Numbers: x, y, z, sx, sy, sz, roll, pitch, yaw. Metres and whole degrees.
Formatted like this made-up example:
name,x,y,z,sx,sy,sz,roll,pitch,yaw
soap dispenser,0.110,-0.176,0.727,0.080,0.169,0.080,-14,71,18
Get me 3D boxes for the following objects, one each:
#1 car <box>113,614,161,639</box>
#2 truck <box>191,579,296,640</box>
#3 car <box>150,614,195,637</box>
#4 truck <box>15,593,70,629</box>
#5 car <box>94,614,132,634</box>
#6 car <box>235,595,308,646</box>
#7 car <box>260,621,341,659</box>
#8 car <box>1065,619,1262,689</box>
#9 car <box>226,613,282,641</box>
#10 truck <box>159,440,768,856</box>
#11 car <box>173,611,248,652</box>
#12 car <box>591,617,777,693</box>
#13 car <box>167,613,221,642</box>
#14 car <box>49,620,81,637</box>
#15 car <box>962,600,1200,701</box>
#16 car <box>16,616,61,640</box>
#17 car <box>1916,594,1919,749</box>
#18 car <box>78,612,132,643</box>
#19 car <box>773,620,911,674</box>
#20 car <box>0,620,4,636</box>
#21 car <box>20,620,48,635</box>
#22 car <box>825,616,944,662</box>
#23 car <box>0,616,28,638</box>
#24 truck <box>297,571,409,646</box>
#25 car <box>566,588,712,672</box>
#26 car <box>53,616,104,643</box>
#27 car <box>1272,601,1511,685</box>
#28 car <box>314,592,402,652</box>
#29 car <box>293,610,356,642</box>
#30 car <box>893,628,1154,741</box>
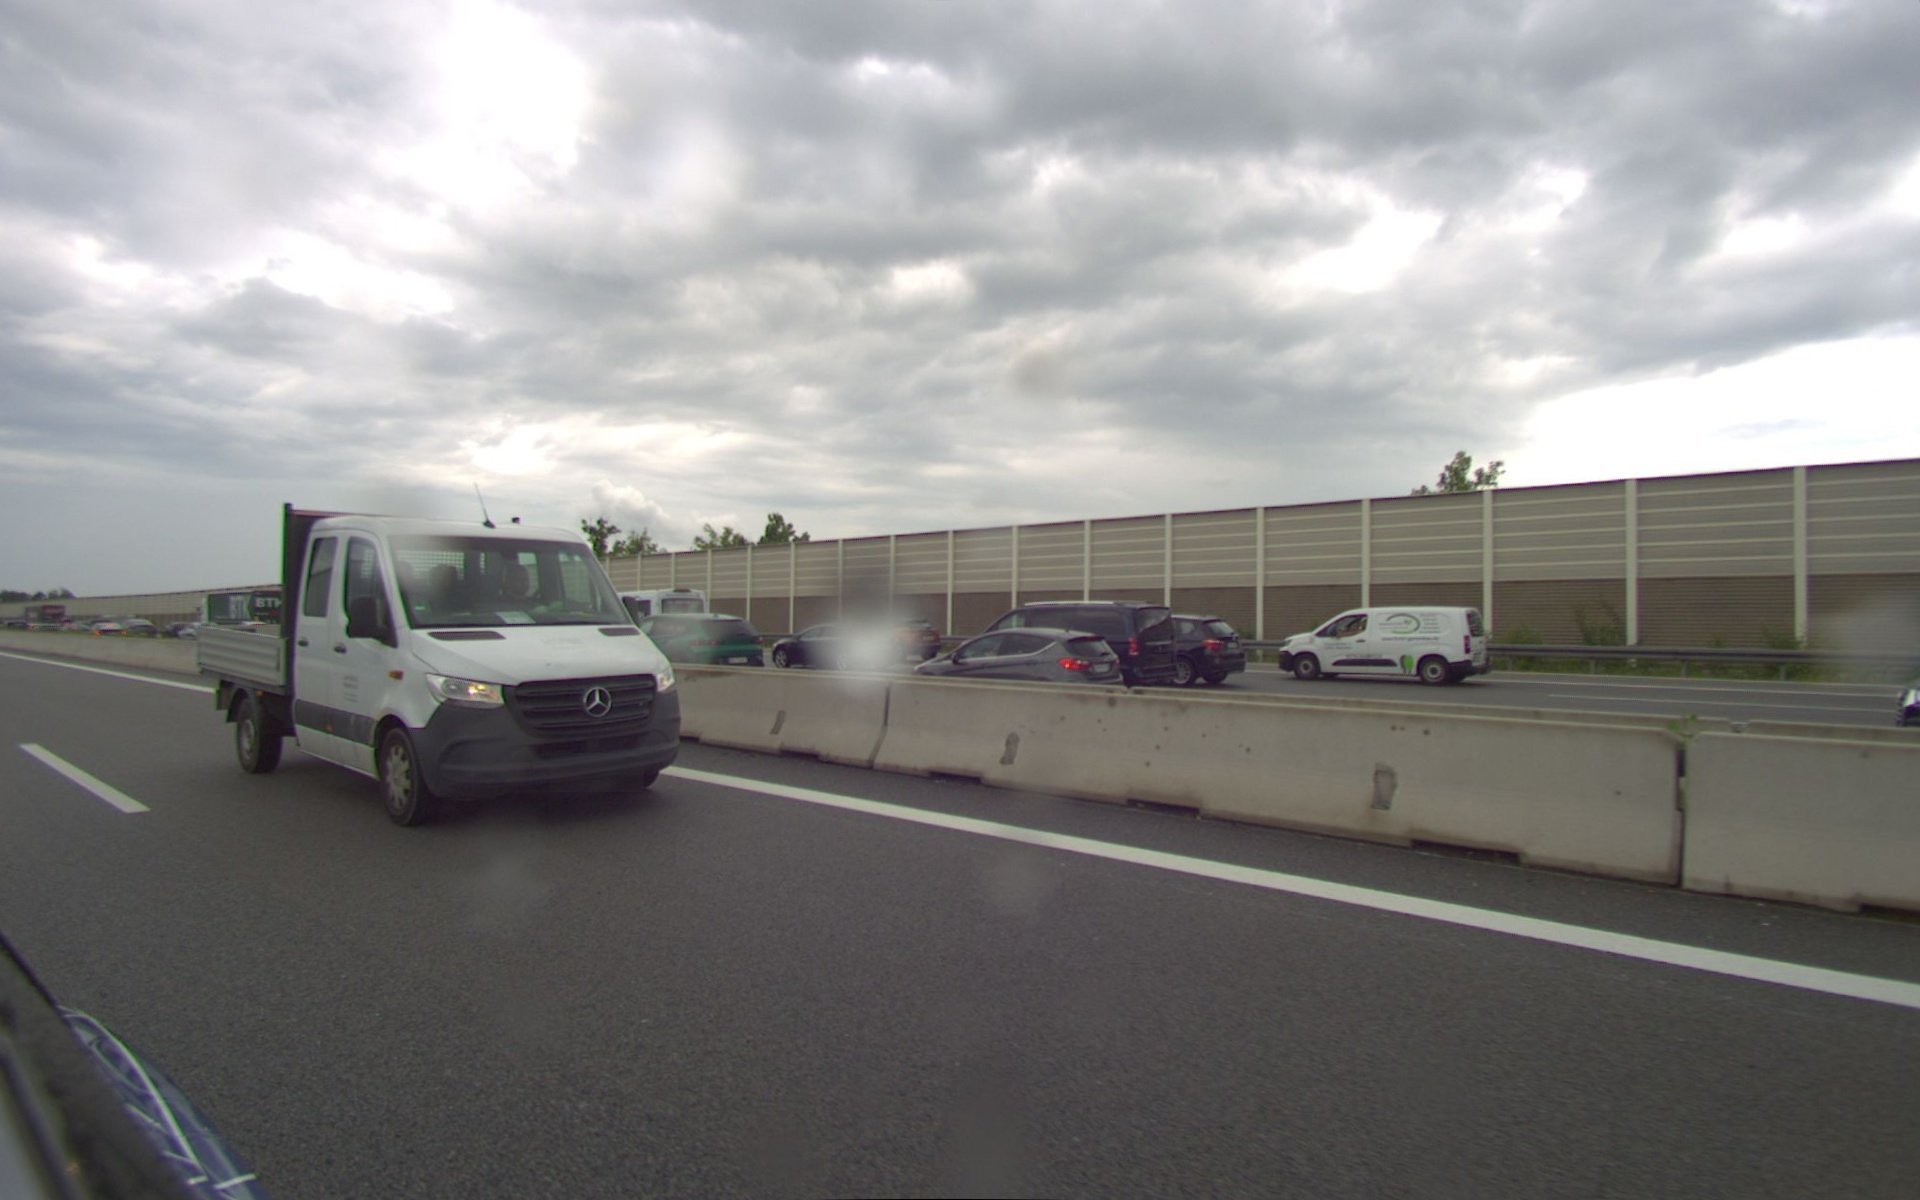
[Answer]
name,x,y,z,sx,sy,sz,roll,pitch,yaw
car,-66.434,2.144,81.659,4.929,1.950,2.093,-1,-1,40
truck,-63.052,0.900,88.734,17.218,4.894,3.404,-1,-1,41
car,-67.625,2.173,86.886,4.929,1.950,2.093,-1,-1,40
truck,-136.461,1.700,150.355,17.213,5.097,3.667,-1,-1,40
car,-84.057,2.389,100.401,4.929,1.950,2.093,-1,-1,40
car,-38.925,1.166,57.150,4.928,2.770,2.106,-1,-1,39
car,-27.976,1.643,42.879,4.359,1.516,1.621,-1,-1,39
car,4.723,1.212,23.868,4.359,1.516,1.554,-1,-1,39
car,-50.612,1.936,72.487,4.929,1.950,2.093,-1,-1,40
truck,-4.923,0.327,9.164,7.142,2.458,2.283,-1,-1,40
car,-37.620,1.558,50.756,4.929,1.950,1.922,-1,-1,40
car,-6.620,1.229,24.004,4.691,1.644,1.900,-1,-1,39
car,-52.670,1.863,69.588,4.929,1.950,1.922,-1,-1,40
car,-103.624,3.297,117.207,4.929,1.950,2.093,-1,-1,40
car,2.487,0.992,21.446,4.676,1.912,2.006,-1,-1,39
car,-76.037,2.275,83.483,4.929,1.950,2.093,-1,-1,40
car,11.687,0.854,8.349,5.425,1.905,1.899,-1,-1,42
car,-56.308,1.806,66.608,4.929,1.950,1.922,-1,-1,40
car,-3.617,1.354,30.468,4.359,1.516,1.554,-1,-1,39
car,-122.314,3.551,127.567,4.929,1.950,2.093,-1,-1,40
car,-119.428,3.509,130.531,4.929,1.950,2.093,-1,-1,40
car,-2.720,1.343,35.793,4.359,1.516,1.554,-1,-1,39
car,-86.802,2.432,92.300,4.929,1.950,2.093,-1,-1,40
truck,-42.672,0.634,70.896,11.690,4.894,3.184,-1,-1,41
car,-10.379,0.947,32.530,5.144,2.492,2.006,-1,-1,39
car,-65.313,2.140,74.972,4.929,1.950,2.093,-1,-1,40
car,10.241,0.981,24.271,4.974,1.832,1.789,-1,-1,39
car,-29.190,1.039,49.024,4.928,2.770,2.106,-1,-1,39
car,-39.638,1.591,63.099,4.929,1.950,1.922,-1,-1,40
car,0.994,1.320,17.215,4.206,1.644,1.794,-1,-1,40
